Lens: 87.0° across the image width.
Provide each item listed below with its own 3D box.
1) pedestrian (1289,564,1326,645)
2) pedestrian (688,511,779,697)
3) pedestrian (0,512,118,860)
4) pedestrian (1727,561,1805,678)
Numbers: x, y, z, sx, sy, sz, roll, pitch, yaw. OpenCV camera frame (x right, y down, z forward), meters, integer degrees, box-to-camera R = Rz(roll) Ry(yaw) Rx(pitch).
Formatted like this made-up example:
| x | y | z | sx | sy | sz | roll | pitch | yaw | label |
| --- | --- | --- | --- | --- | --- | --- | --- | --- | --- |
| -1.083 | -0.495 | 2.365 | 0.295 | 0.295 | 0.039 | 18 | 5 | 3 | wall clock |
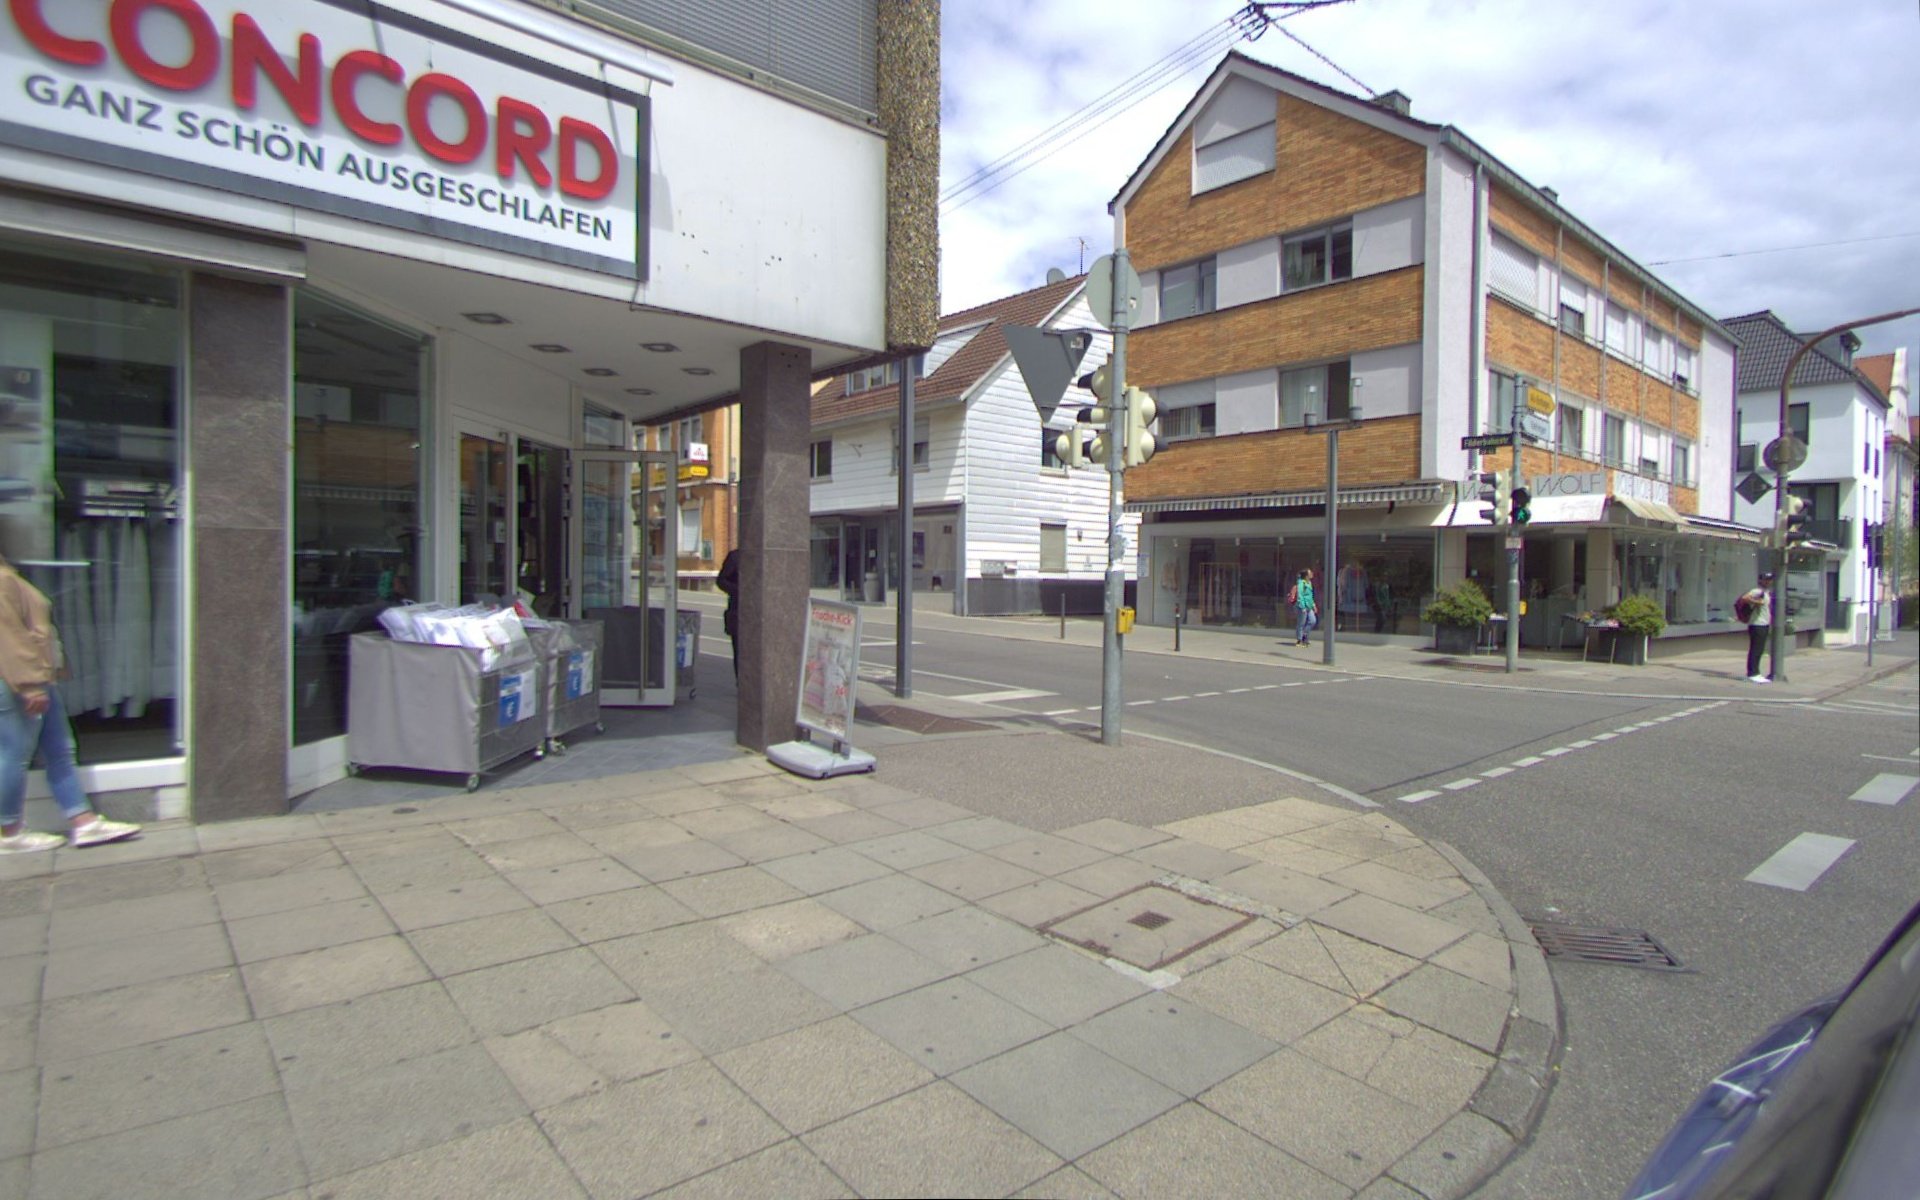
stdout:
| x | y | z | sx | sy | sz | roll | pitch | yaw | label |
| --- | --- | --- | --- | --- | --- | --- | --- | --- | --- |
| 6.928 | 0.081 | 20.192 | 0.584 | 1.579 | 0.523 | 0 | 1 | 33 | pedestrian |
| -2.202 | 0.025 | 9.864 | 0.572 | 1.726 | 0.617 | 4 | 2 | 17 | pedestrian |
| -4.154 | 0.354 | 4.525 | 0.490 | 1.476 | 0.506 | 1 | 4 | -28 | pedestrian |
| 13.295 | 0.300 | 16.708 | 0.605 | 1.836 | 0.772 | 5 | 3 | 17 | pedestrian |
